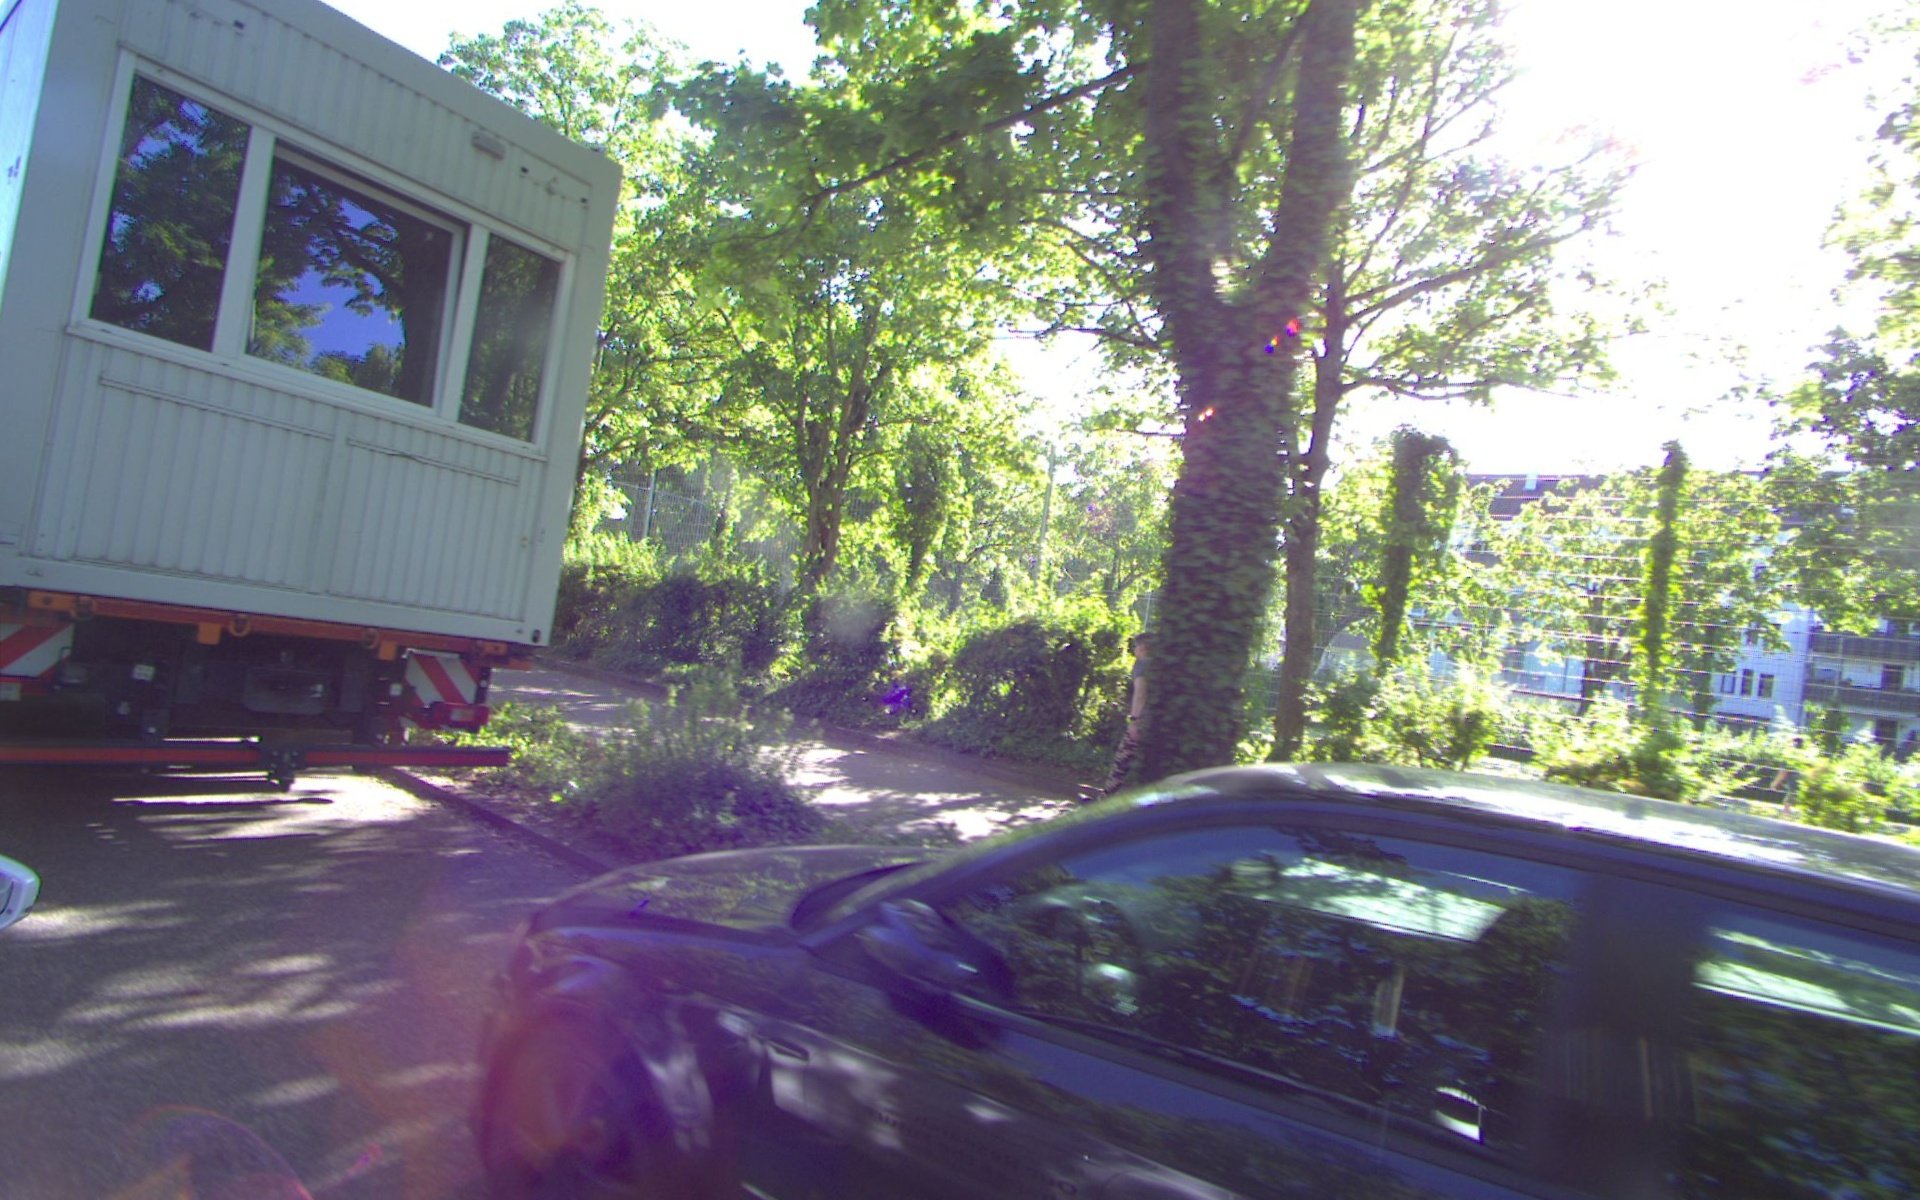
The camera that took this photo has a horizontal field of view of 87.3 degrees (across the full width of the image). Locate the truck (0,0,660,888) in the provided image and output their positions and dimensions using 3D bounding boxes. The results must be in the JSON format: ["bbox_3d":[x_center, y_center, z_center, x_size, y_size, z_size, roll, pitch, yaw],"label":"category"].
[{"bbox_3d":[-6.903,-1.153,8.082,10.194,4.040,2.775,7,-3,38],"label":"truck"}]

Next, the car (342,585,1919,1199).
[{"bbox_3d":[0.694,0.961,1.890,3.938,1.436,1.642,7,-3,36],"label":"car"}]

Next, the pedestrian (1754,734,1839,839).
[{"bbox_3d":[11.125,2.469,13.392,0.553,1.253,0.544,9,-2,-12],"label":"pedestrian"}]

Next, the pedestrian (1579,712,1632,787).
[{"bbox_3d":[13.461,3.115,20.986,0.622,1.436,0.506,9,-2,-7],"label":"pedestrian"}]

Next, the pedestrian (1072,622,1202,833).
[{"bbox_3d":[1.475,1.051,8.390,0.570,1.626,0.663,9,-1,-42],"label":"pedestrian"}]
